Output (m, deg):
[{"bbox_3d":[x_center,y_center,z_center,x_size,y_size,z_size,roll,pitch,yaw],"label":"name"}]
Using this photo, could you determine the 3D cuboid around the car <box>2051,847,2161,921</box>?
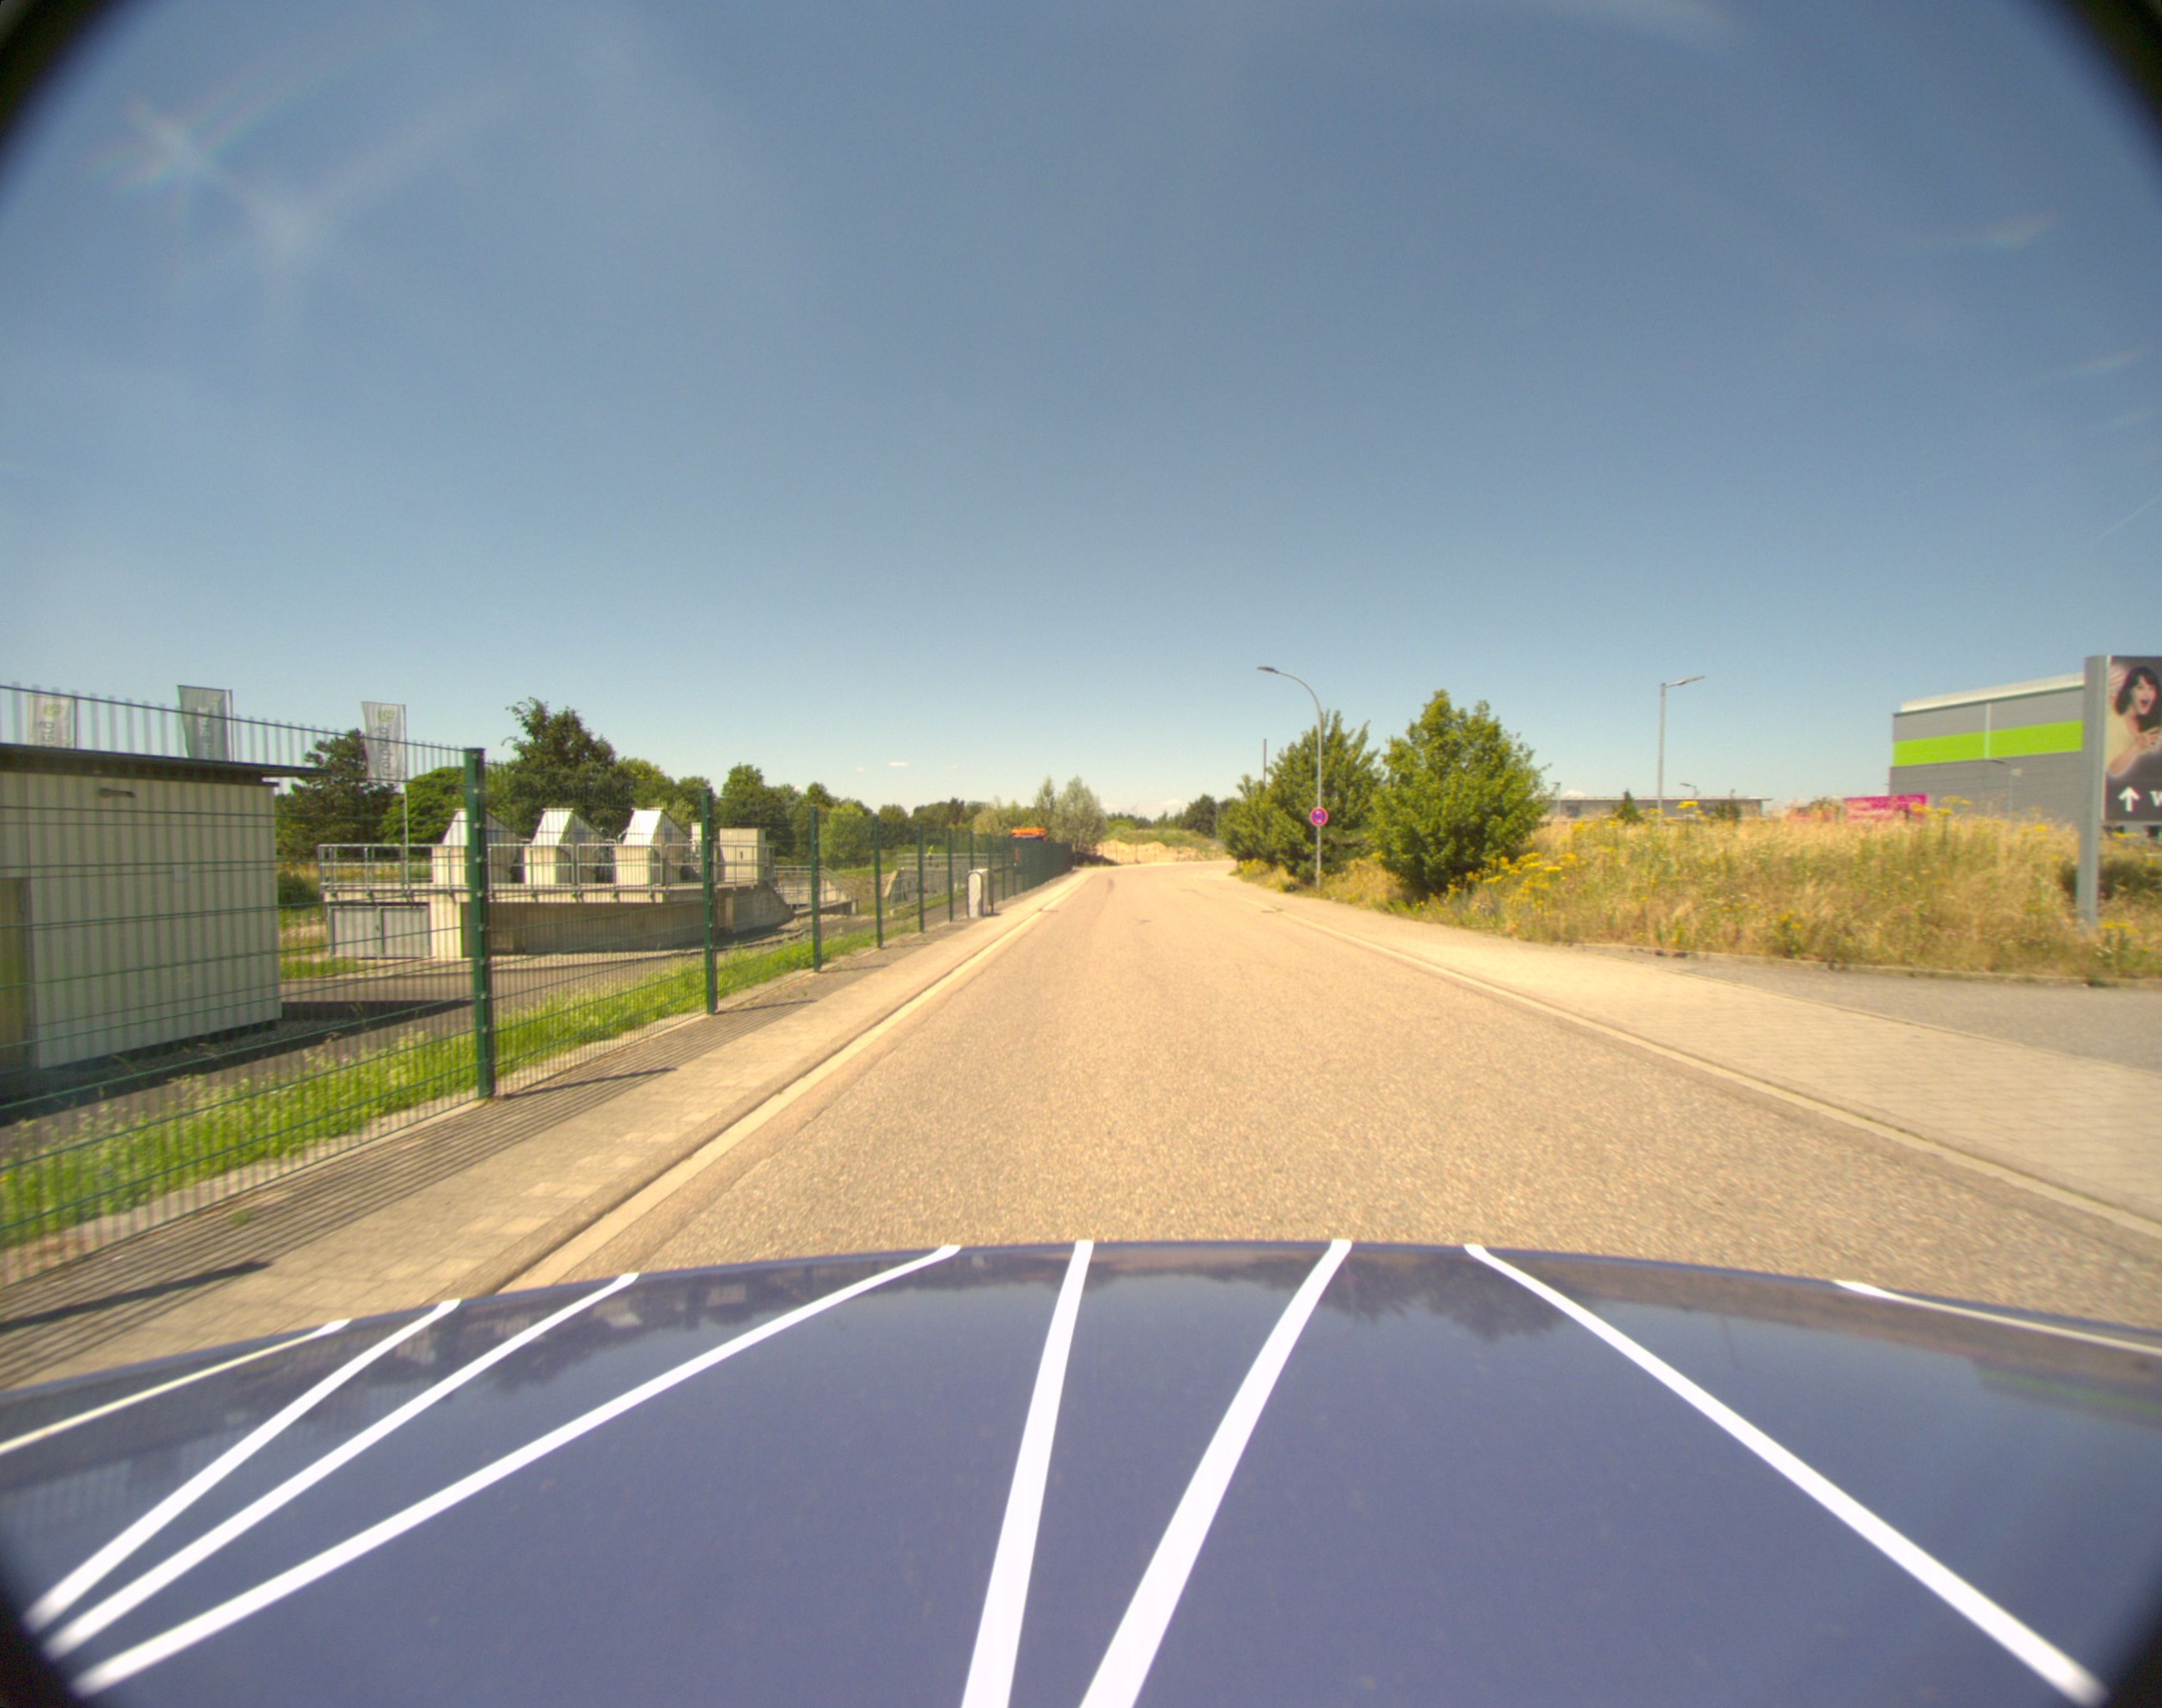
[{"bbox_3d":[26.130,0.622,17.846,4.357,1.535,1.871,-3,1,-1],"label":"car"}]

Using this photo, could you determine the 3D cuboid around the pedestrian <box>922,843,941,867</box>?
[{"bbox_3d":[-12.720,0.063,64.798,1.304,2.002,1.216,-2,1,2],"label":"pedestrian"}]

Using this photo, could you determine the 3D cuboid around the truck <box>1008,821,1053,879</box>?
[{"bbox_3d":[-3.863,-0.320,59.949,2.847,4.172,8.131,-2,1,0],"label":"truck"}]
